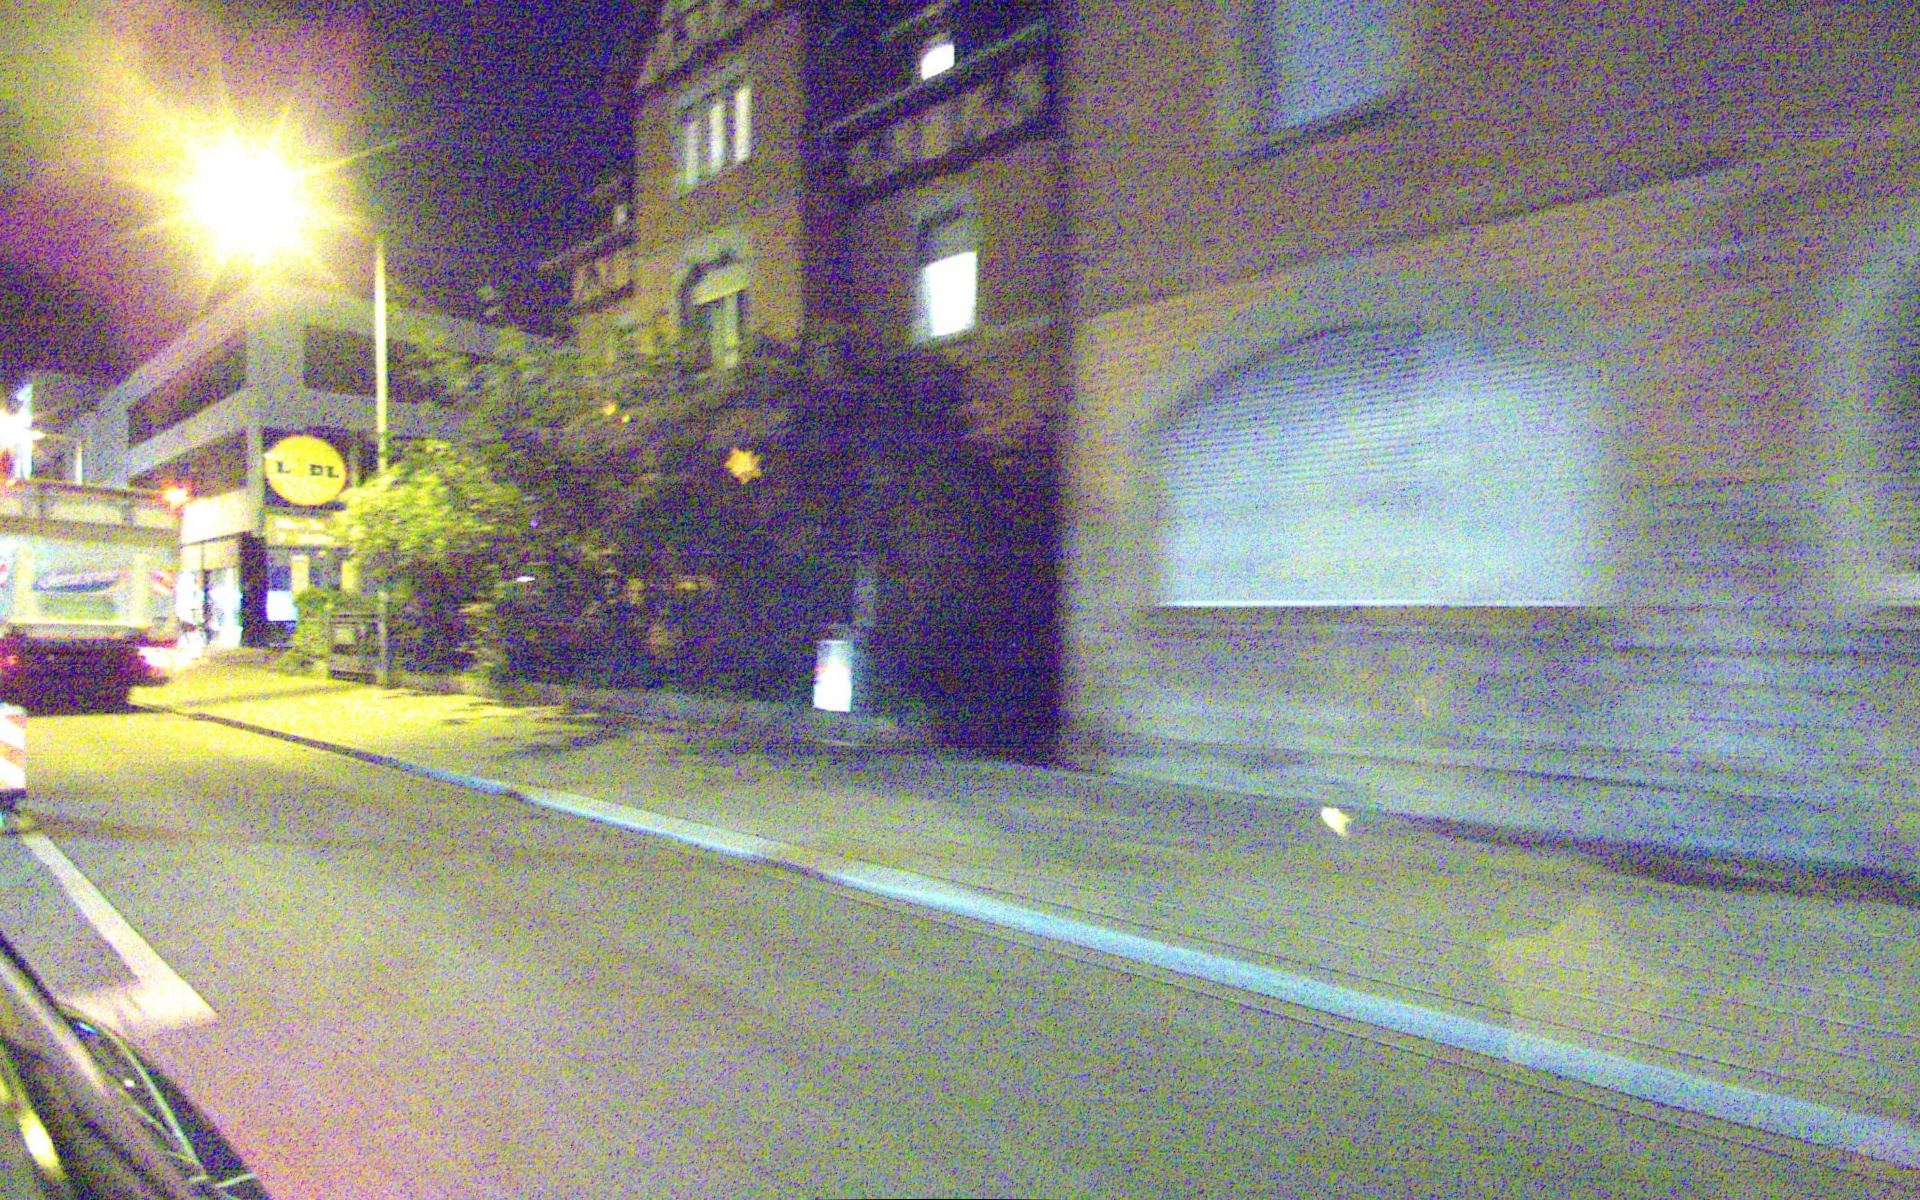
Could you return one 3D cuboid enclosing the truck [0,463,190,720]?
[{"bbox_3d":[-17.252,-0.047,18.708,10.107,3.746,2.726,-1,-2,41],"label":"truck"}]
